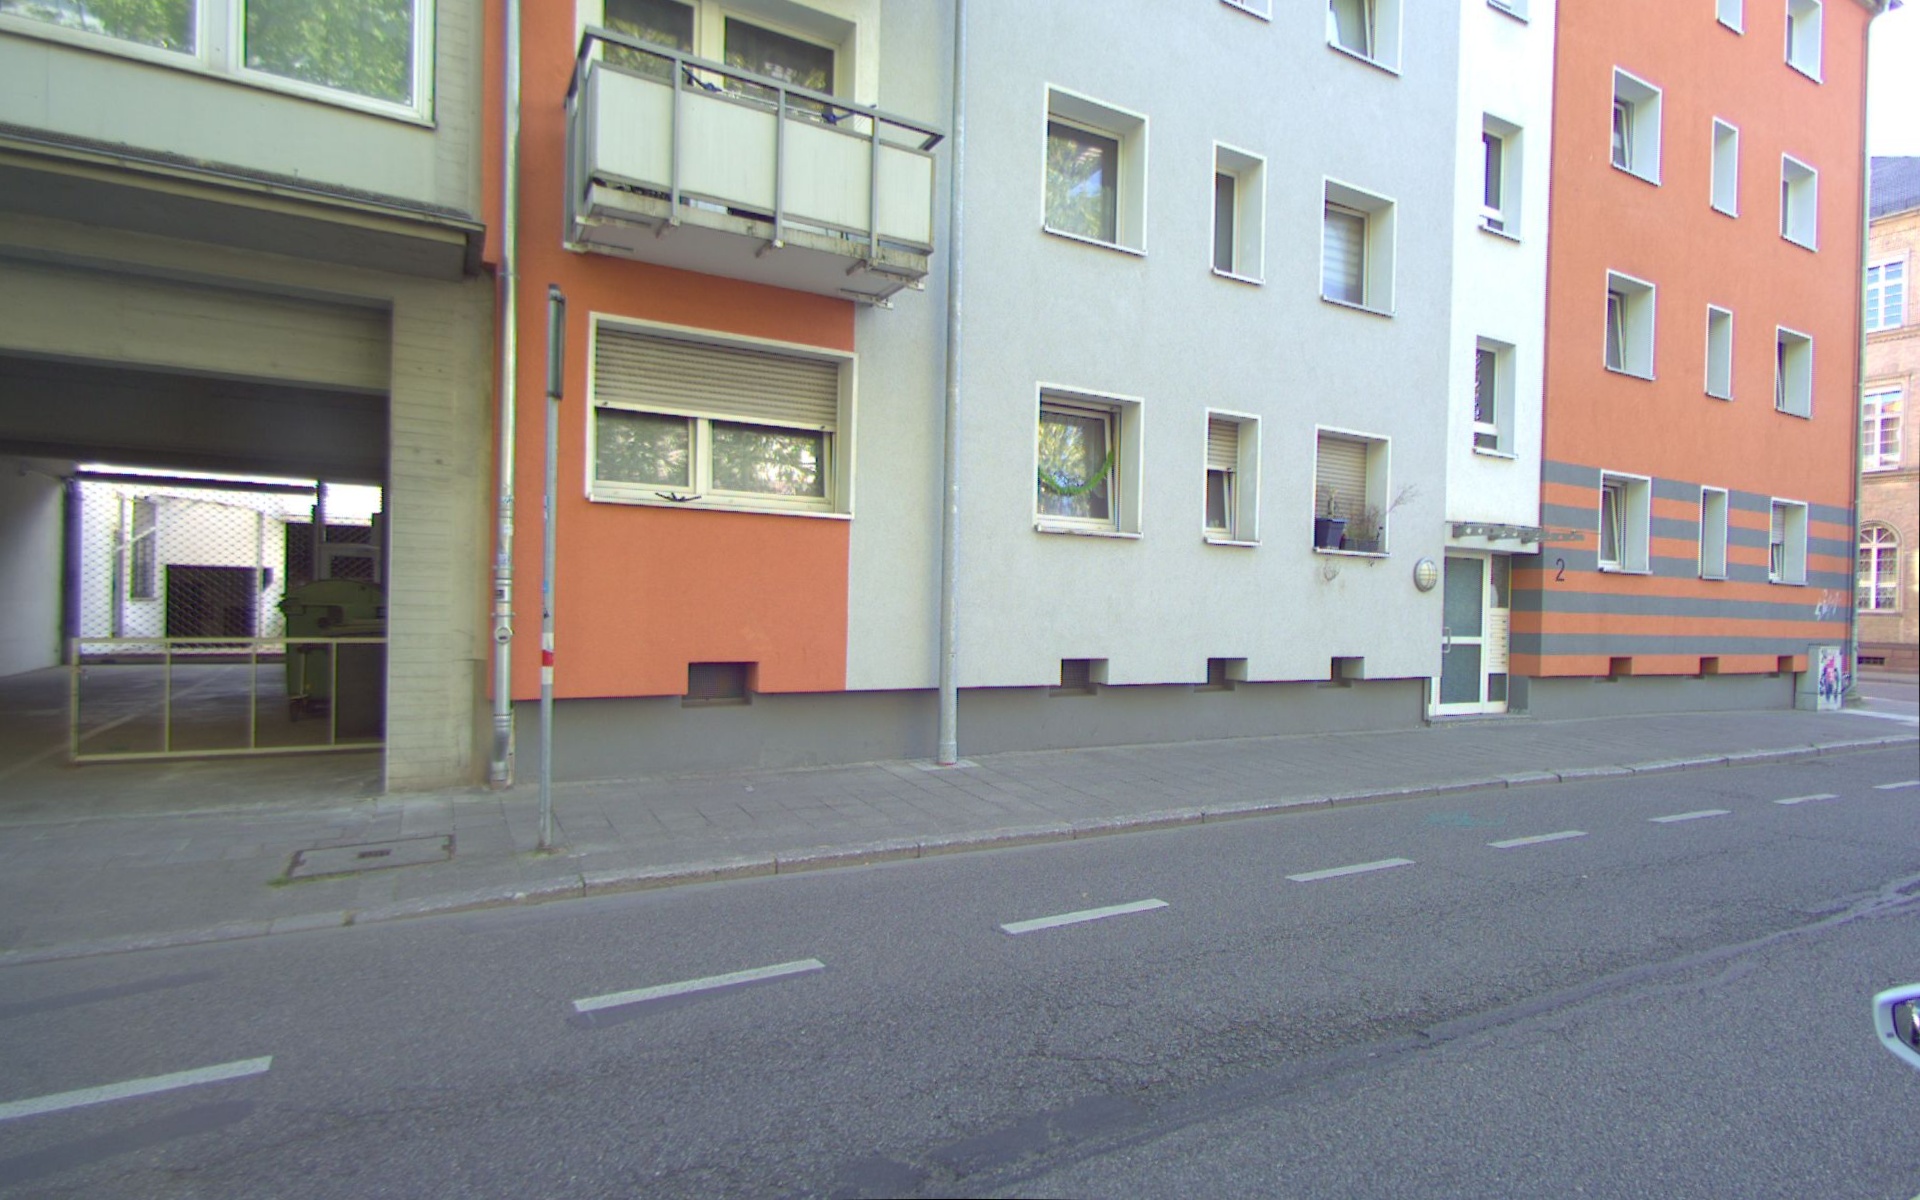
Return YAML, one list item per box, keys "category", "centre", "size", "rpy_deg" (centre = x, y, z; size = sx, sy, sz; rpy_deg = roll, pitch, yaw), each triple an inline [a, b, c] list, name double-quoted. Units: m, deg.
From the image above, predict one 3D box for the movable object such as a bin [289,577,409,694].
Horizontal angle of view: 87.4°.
- category: "movable object such as a bin"
  centre: [-8.269, 0.463, 13.680]
  size: [1.264, 1.506, 1.155]
  rpy_deg: [2, 0, -27]

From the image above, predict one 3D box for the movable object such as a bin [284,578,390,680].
- category: "movable object such as a bin"
  centre: [-9.700, 0.437, 15.699]
  size: [1.264, 1.506, 1.155]
  rpy_deg: [2, 0, -27]

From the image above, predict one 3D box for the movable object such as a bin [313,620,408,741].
- category: "movable object such as a bin"
  centre: [-5.587, 0.737, 9.387]
  size: [0.694, 1.061, 0.567]
  rpy_deg: [2, 1, -27]

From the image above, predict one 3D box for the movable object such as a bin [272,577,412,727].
- category: "movable object such as a bin"
  centre: [-6.560, 0.519, 10.757]
  size: [1.128, 1.484, 1.255]
  rpy_deg: [2, 0, -27]
